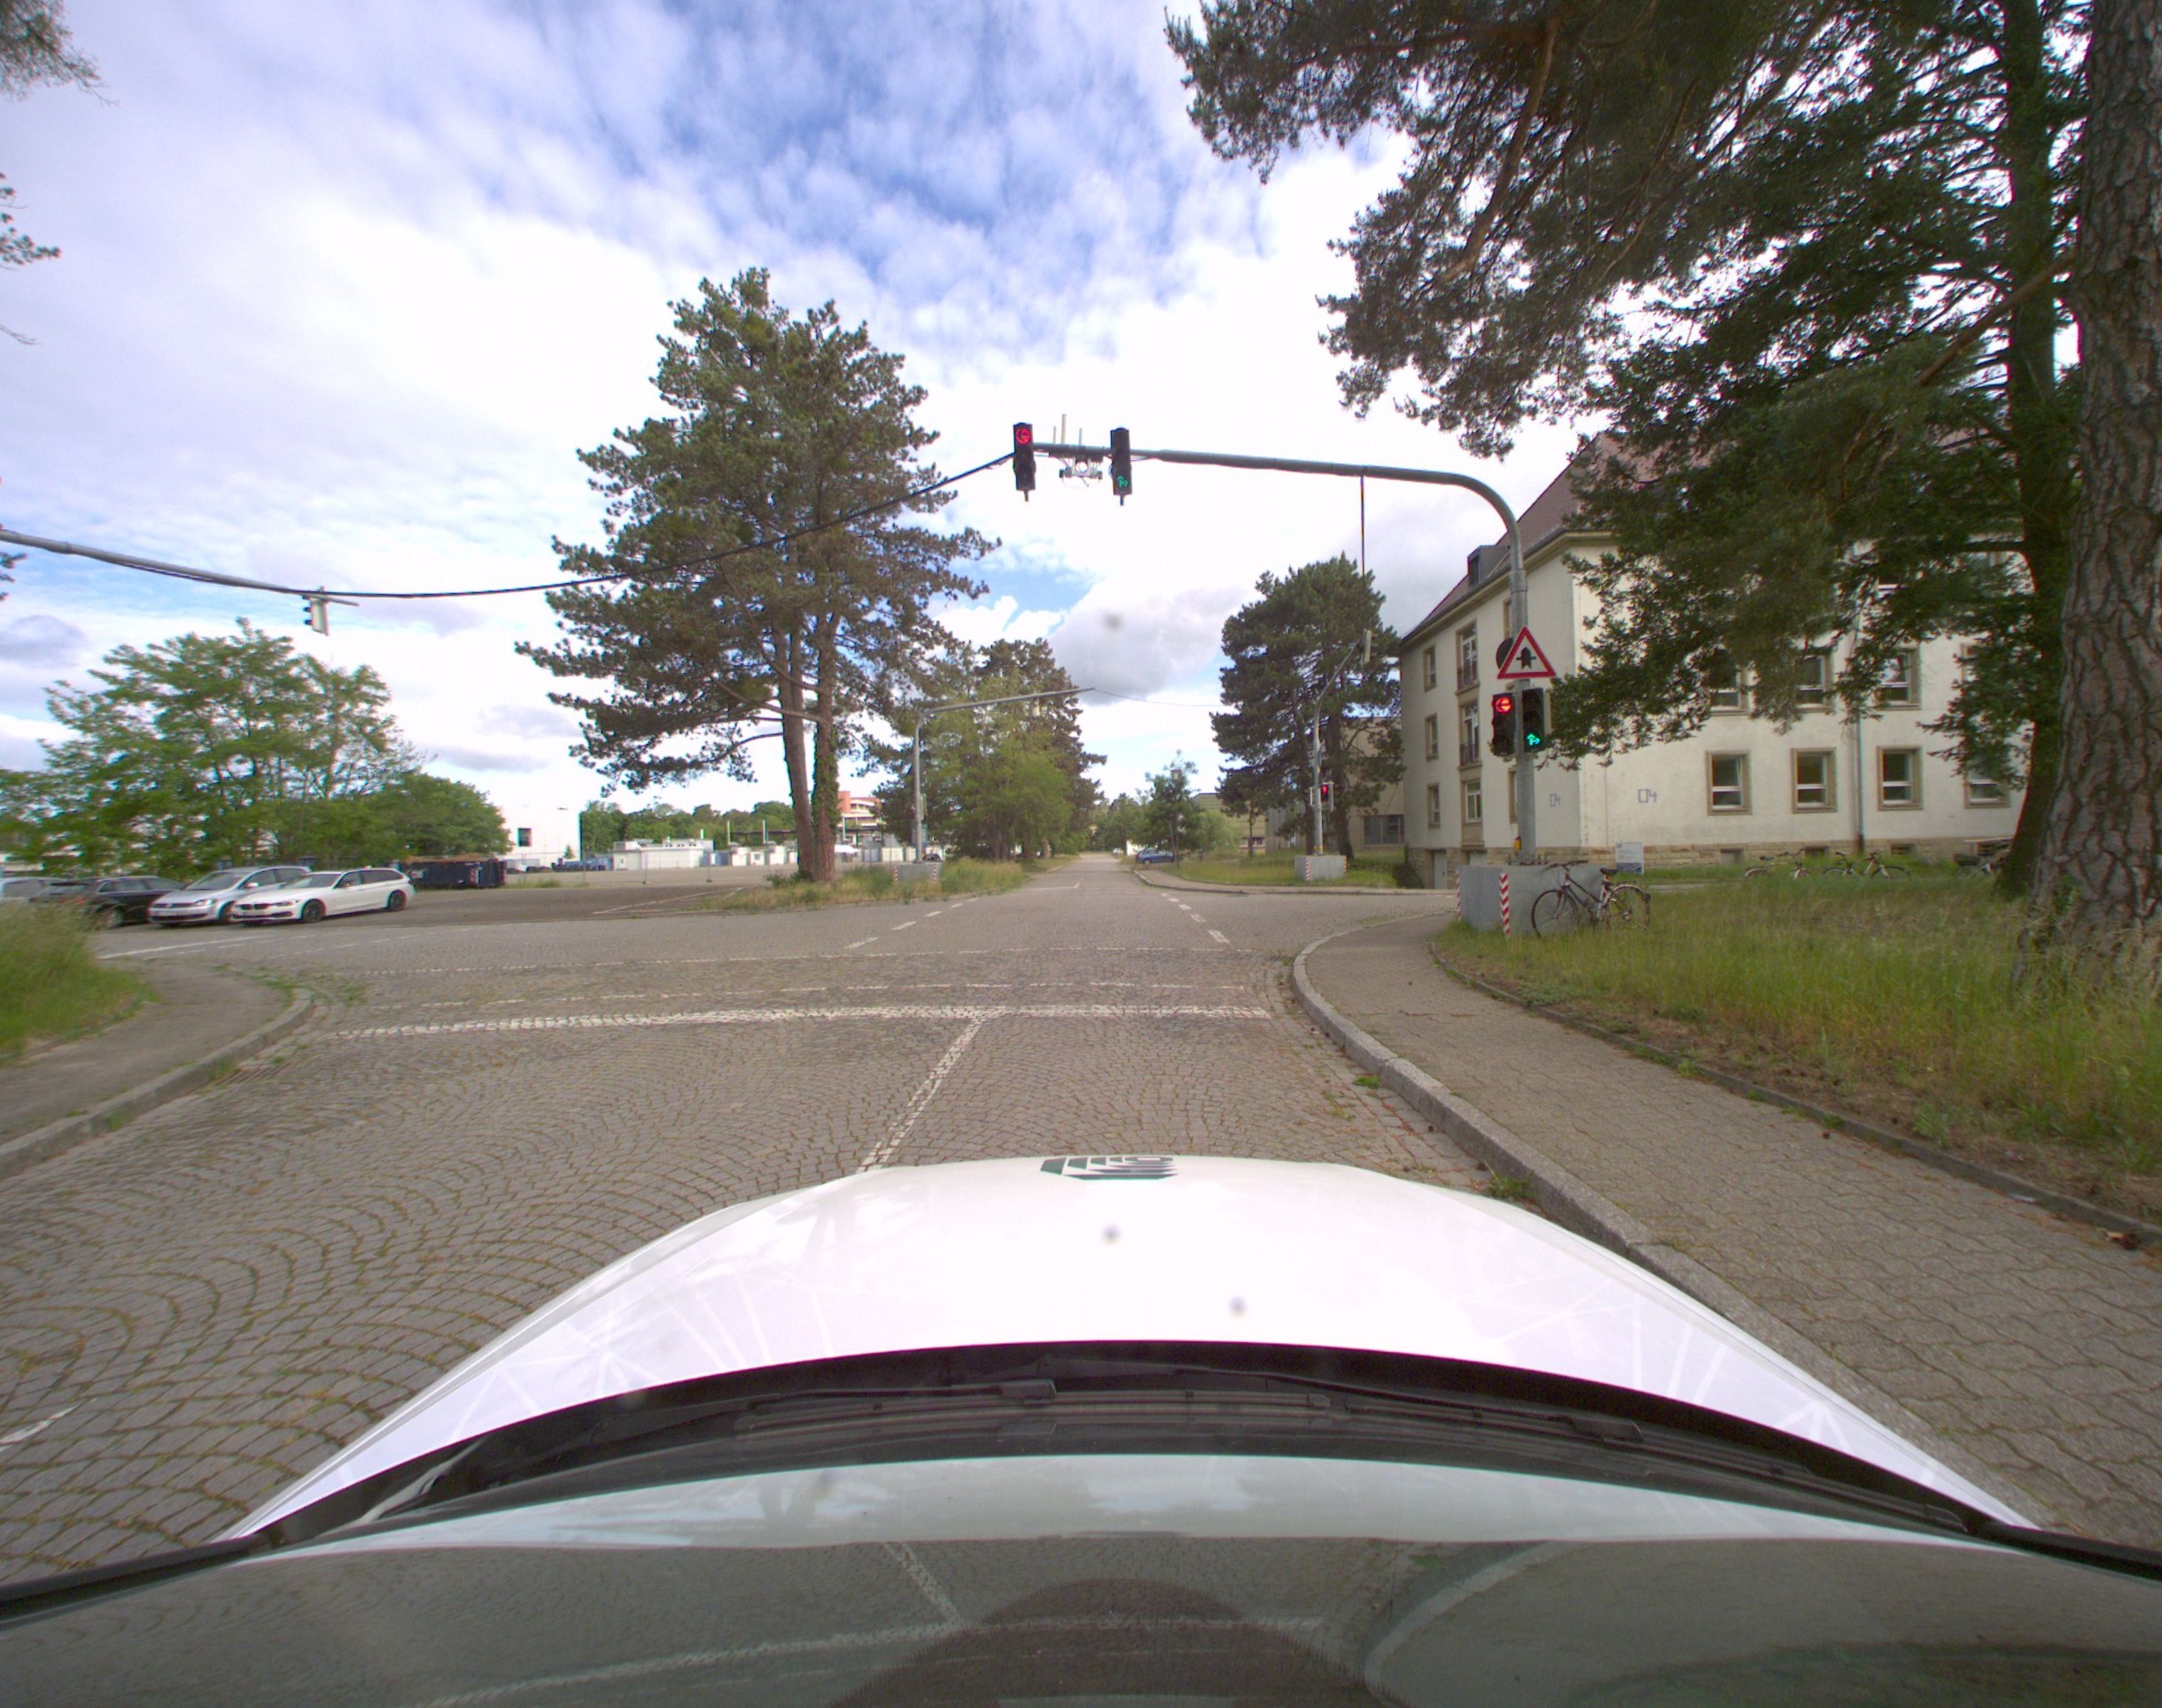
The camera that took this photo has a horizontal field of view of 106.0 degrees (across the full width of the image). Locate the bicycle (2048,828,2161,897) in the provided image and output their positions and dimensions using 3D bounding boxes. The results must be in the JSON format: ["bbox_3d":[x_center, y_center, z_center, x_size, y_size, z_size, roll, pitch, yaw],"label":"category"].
[{"bbox_3d":[20.952,0.146,16.469,0.573,1.320,1.979,-1,0,7],"label":"bicycle"}]

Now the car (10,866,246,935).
[{"bbox_3d":[-27.828,1.284,24.058,1.850,1.501,4.324,-2,3,-2],"label":"car"}]

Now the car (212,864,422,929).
[{"bbox_3d":[-22.574,1.183,24.394,1.805,1.441,4.739,-1,2,-1],"label":"car"}]

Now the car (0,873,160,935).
[{"bbox_3d":[-30.501,1.434,24.003,1.788,1.566,4.323,-2,0,-2],"label":"car"}]

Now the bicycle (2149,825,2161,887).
[{"bbox_3d":[23.125,0.048,16.508,0.550,1.320,1.942,-1,0,7],"label":"bicycle"}]

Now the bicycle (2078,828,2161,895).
[{"bbox_3d":[21.540,0.142,16.483,0.503,1.320,1.923,-1,0,7],"label":"bicycle"}]

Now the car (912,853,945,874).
[{"bbox_3d":[-11.506,0.693,61.676,1.607,1.487,4.001,-1,0,1],"label":"car"}]

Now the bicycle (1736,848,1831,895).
[{"bbox_3d":[15.397,0.377,17.863,1.615,0.980,0.530,-1,0,0],"label":"bicycle"}]

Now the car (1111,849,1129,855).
[{"bbox_3d":[9.326,-0.551,193.419,3.980,1.398,1.997,-2,0,-5],"label":"car"}]

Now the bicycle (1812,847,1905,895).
[{"bbox_3d":[17.154,0.374,17.977,1.531,1.014,0.543,-1,0,0],"label":"bicycle"}]

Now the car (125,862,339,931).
[{"bbox_3d":[-25.068,1.179,24.321,1.817,1.584,4.324,-2,3,-2],"label":"car"}]

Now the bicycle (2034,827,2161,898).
[{"bbox_3d":[20.381,0.151,16.282,0.435,1.320,2.051,-1,0,7],"label":"bicycle"}]

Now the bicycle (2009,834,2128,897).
[{"bbox_3d":[19.882,0.214,16.448,0.538,1.215,1.642,-1,0,6],"label":"bicycle"}]

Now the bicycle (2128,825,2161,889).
[{"bbox_3d":[22.515,0.056,16.413,0.552,1.320,1.856,-1,0,7],"label":"bicycle"}]

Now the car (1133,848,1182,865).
[{"bbox_3d":[7.164,0.241,76.326,4.331,1.422,1.999,-2,0,-1],"label":"car"}]

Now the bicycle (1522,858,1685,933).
[{"bbox_3d":[6.617,0.519,10.366,1.693,0.874,0.573,-2,0,1],"label":"bicycle"}]

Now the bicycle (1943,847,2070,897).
[{"bbox_3d":[18.657,0.338,16.484,0.538,0.949,1.905,-1,0,6],"label":"bicycle"}]

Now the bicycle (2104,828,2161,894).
[{"bbox_3d":[21.989,0.137,16.449,0.389,1.320,1.922,-1,0,7],"label":"bicycle"}]

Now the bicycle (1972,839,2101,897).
[{"bbox_3d":[19.308,0.262,16.528,0.538,1.101,1.905,-1,0,7],"label":"bicycle"}]
